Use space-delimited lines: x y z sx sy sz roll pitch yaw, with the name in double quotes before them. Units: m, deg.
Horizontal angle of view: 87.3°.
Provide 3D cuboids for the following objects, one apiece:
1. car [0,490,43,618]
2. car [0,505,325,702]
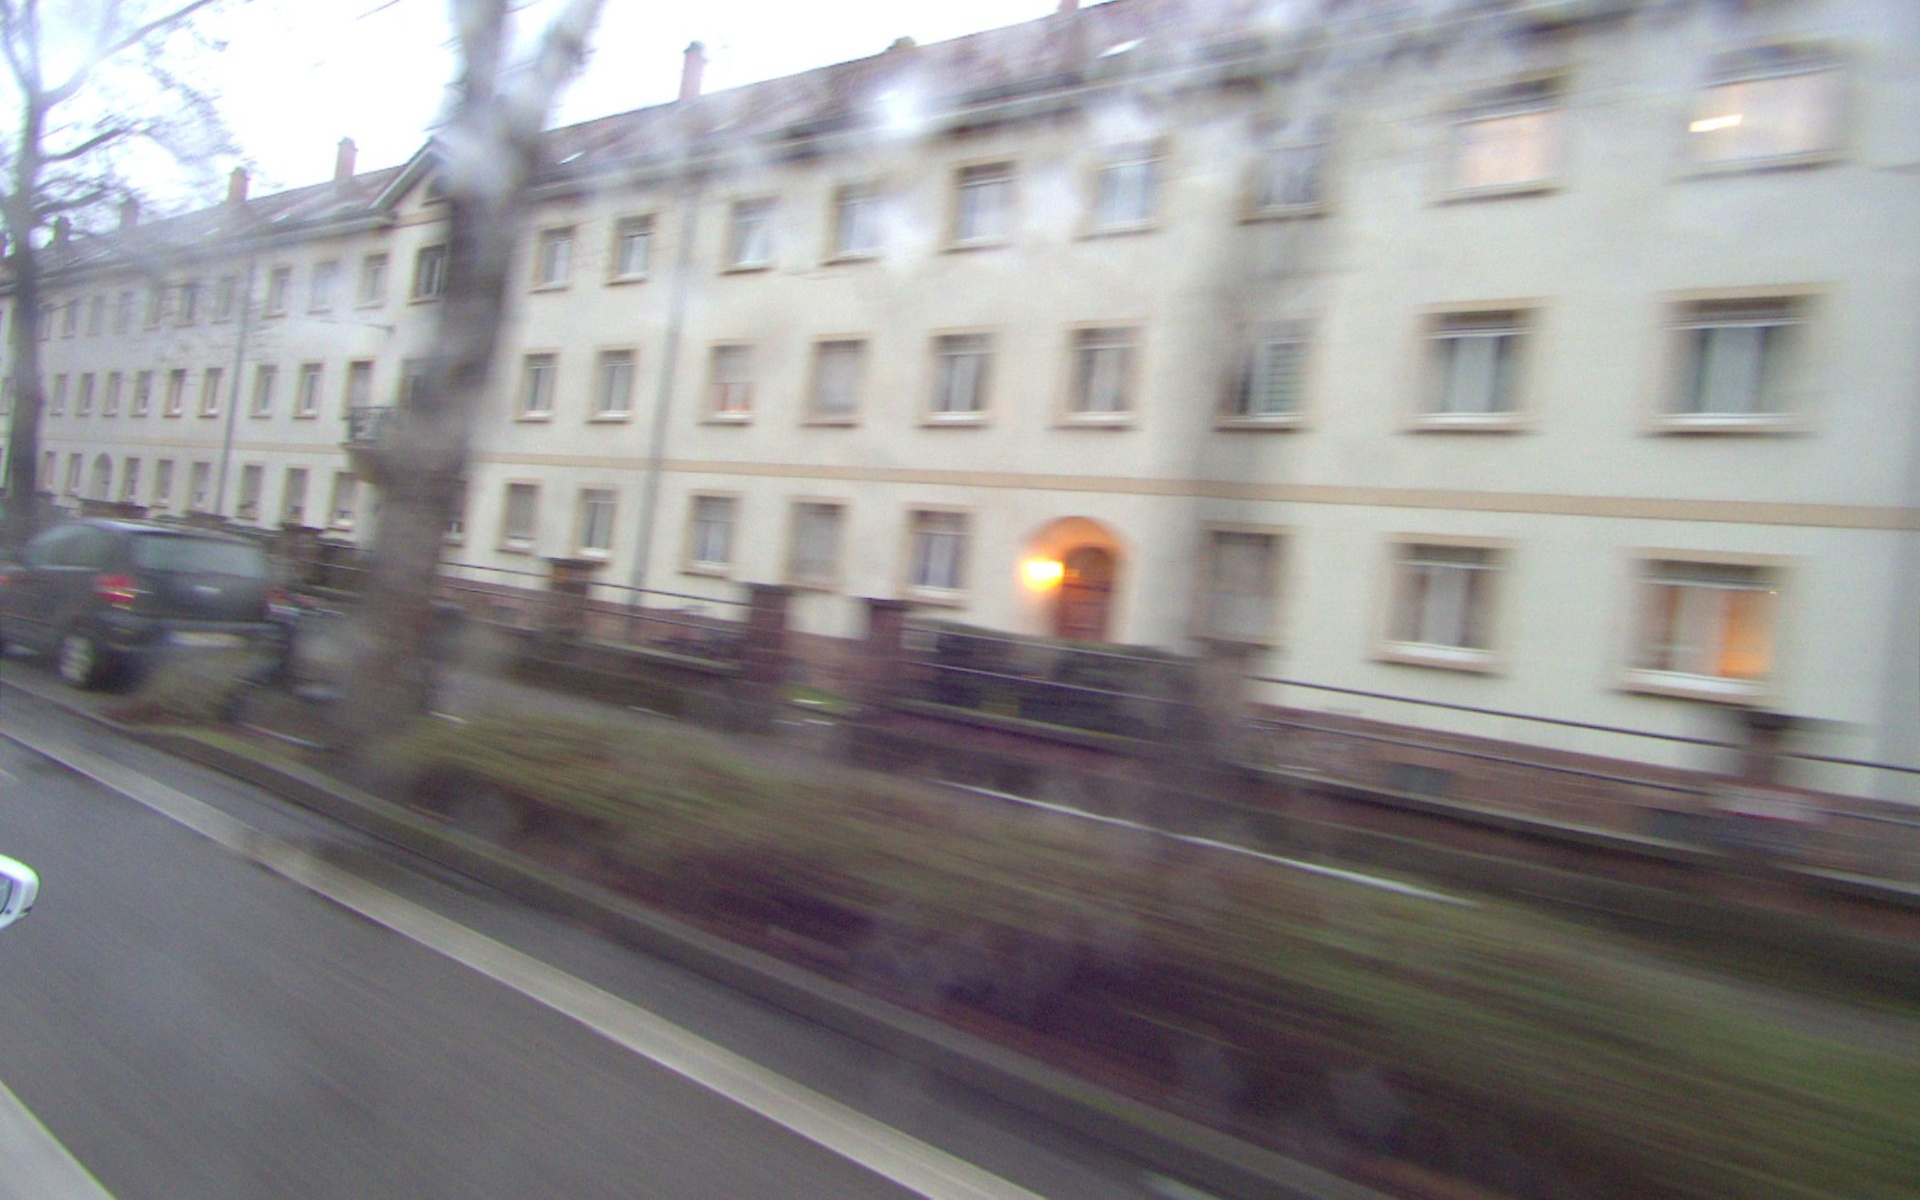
"car" -15.651 -0.943 14.723 4.820 1.748 1.909 7 -1 31
"car" -8.539 -0.020 10.283 3.921 1.527 1.788 7 -1 31
